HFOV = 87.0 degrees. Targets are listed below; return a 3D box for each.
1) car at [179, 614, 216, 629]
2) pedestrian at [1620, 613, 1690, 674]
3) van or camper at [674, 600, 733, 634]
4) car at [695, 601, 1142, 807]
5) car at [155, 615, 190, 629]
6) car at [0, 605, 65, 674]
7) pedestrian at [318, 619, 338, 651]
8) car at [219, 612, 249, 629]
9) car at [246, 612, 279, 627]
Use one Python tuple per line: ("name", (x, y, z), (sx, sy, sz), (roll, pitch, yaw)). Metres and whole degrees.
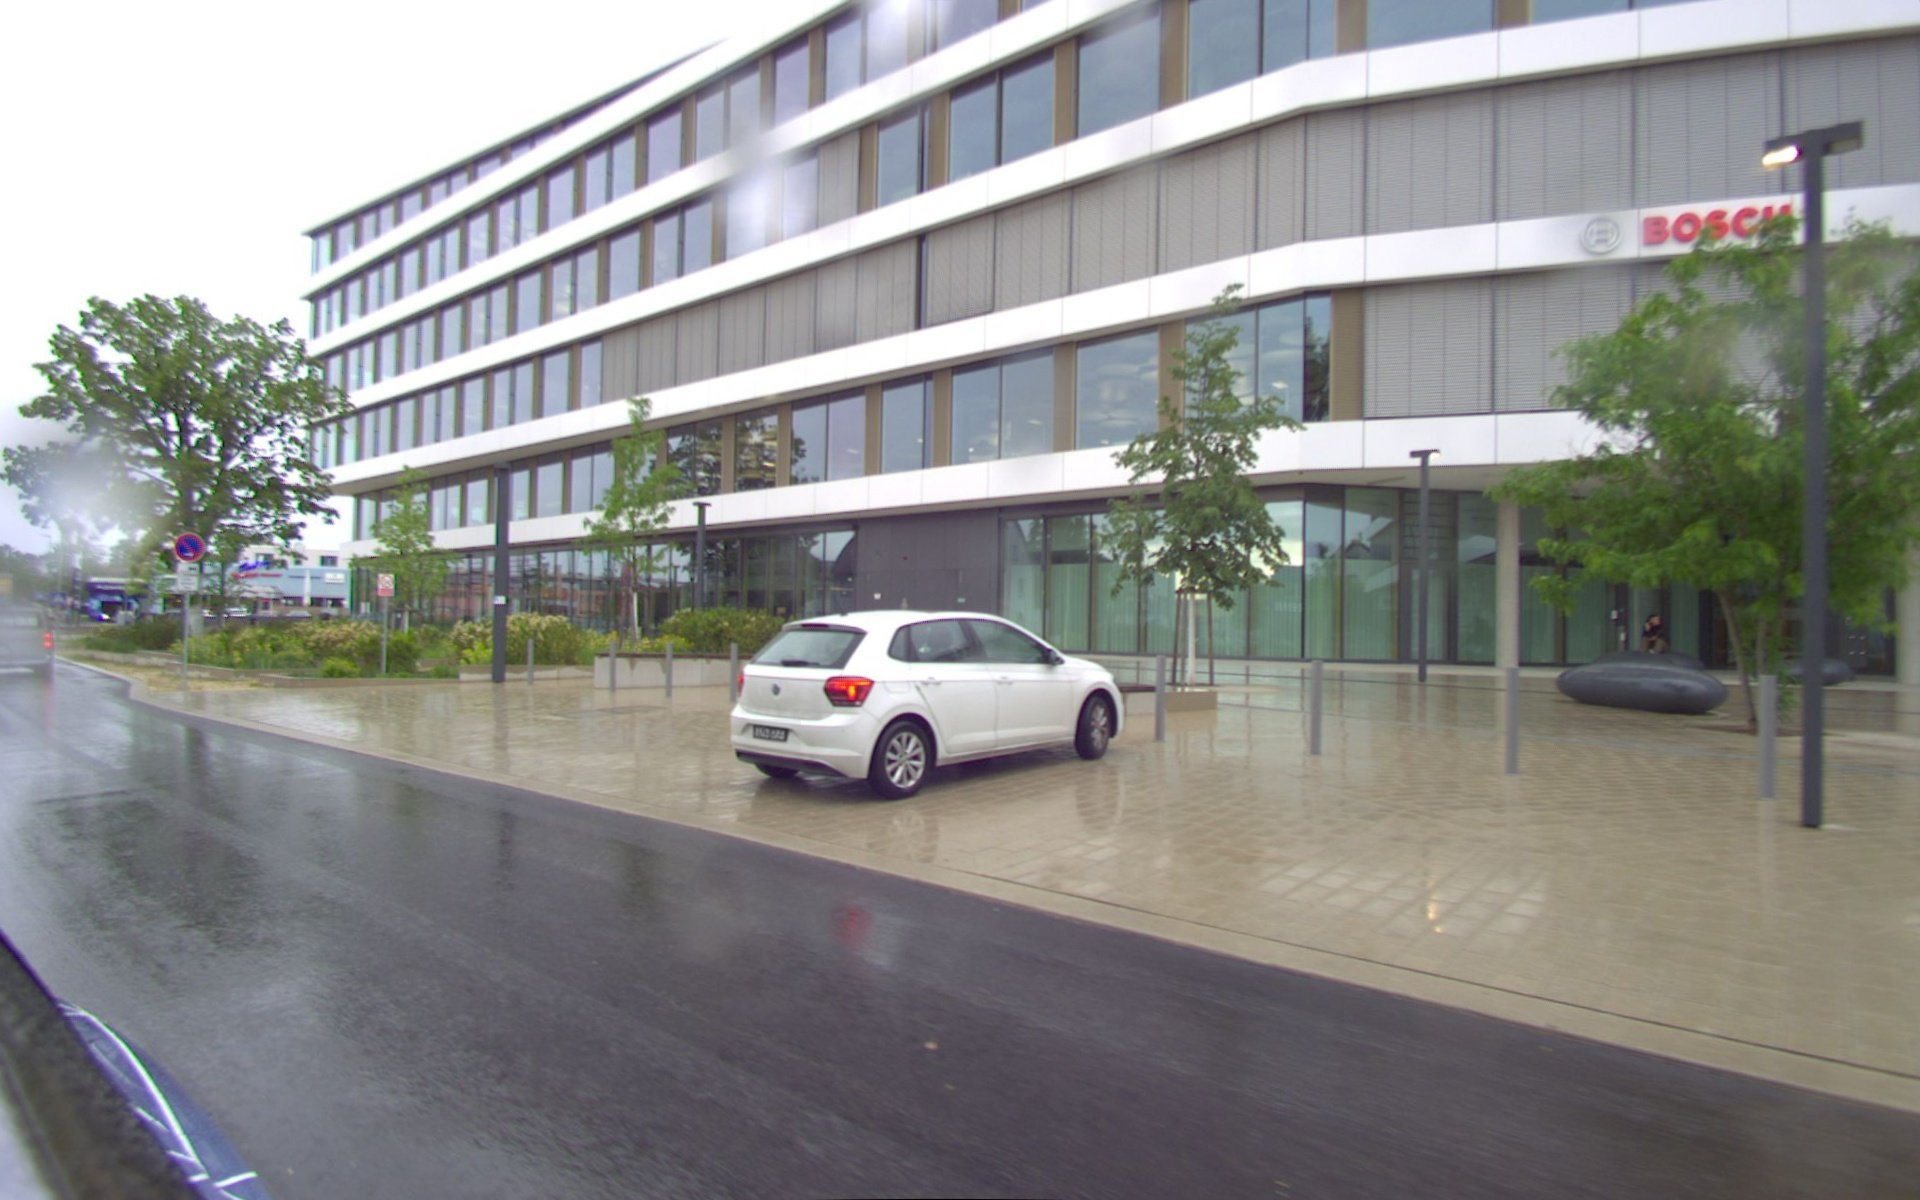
("car", (-69.635, 1.945, 92.466), (1.855, 1.305, 4.013), (-2, 0, -25))
("pedestrian", (15.984, 0.988, 23.306), (1.051, 1.324, 0.895), (0, 2, 14))
("van or camper", (-24.179, 1.585, 95.441), (5.014, 3.111, 2.006), (-1, -1, -28))
("car", (-0.185, 0.790, 9.154), (1.897, 1.434, 3.886), (-1, -2, 41))
("car", (-79.357, 2.162, 102.013), (1.855, 1.305, 4.013), (-2, 0, -25))
("car", (-26.921, 1.091, 28.563), (4.979, 1.832, 1.981), (-1, -2, 43))
("pedestrian", (-36.153, 1.990, 57.914), (0.957, 1.716, 0.716), (1, 2, 44))
("car", (-67.499, 1.893, 94.178), (1.763, 1.564, 4.012), (1, -2, -28))
("car", (-65.403, 1.798, 94.939), (1.855, 1.305, 4.013), (-2, 0, -25))
